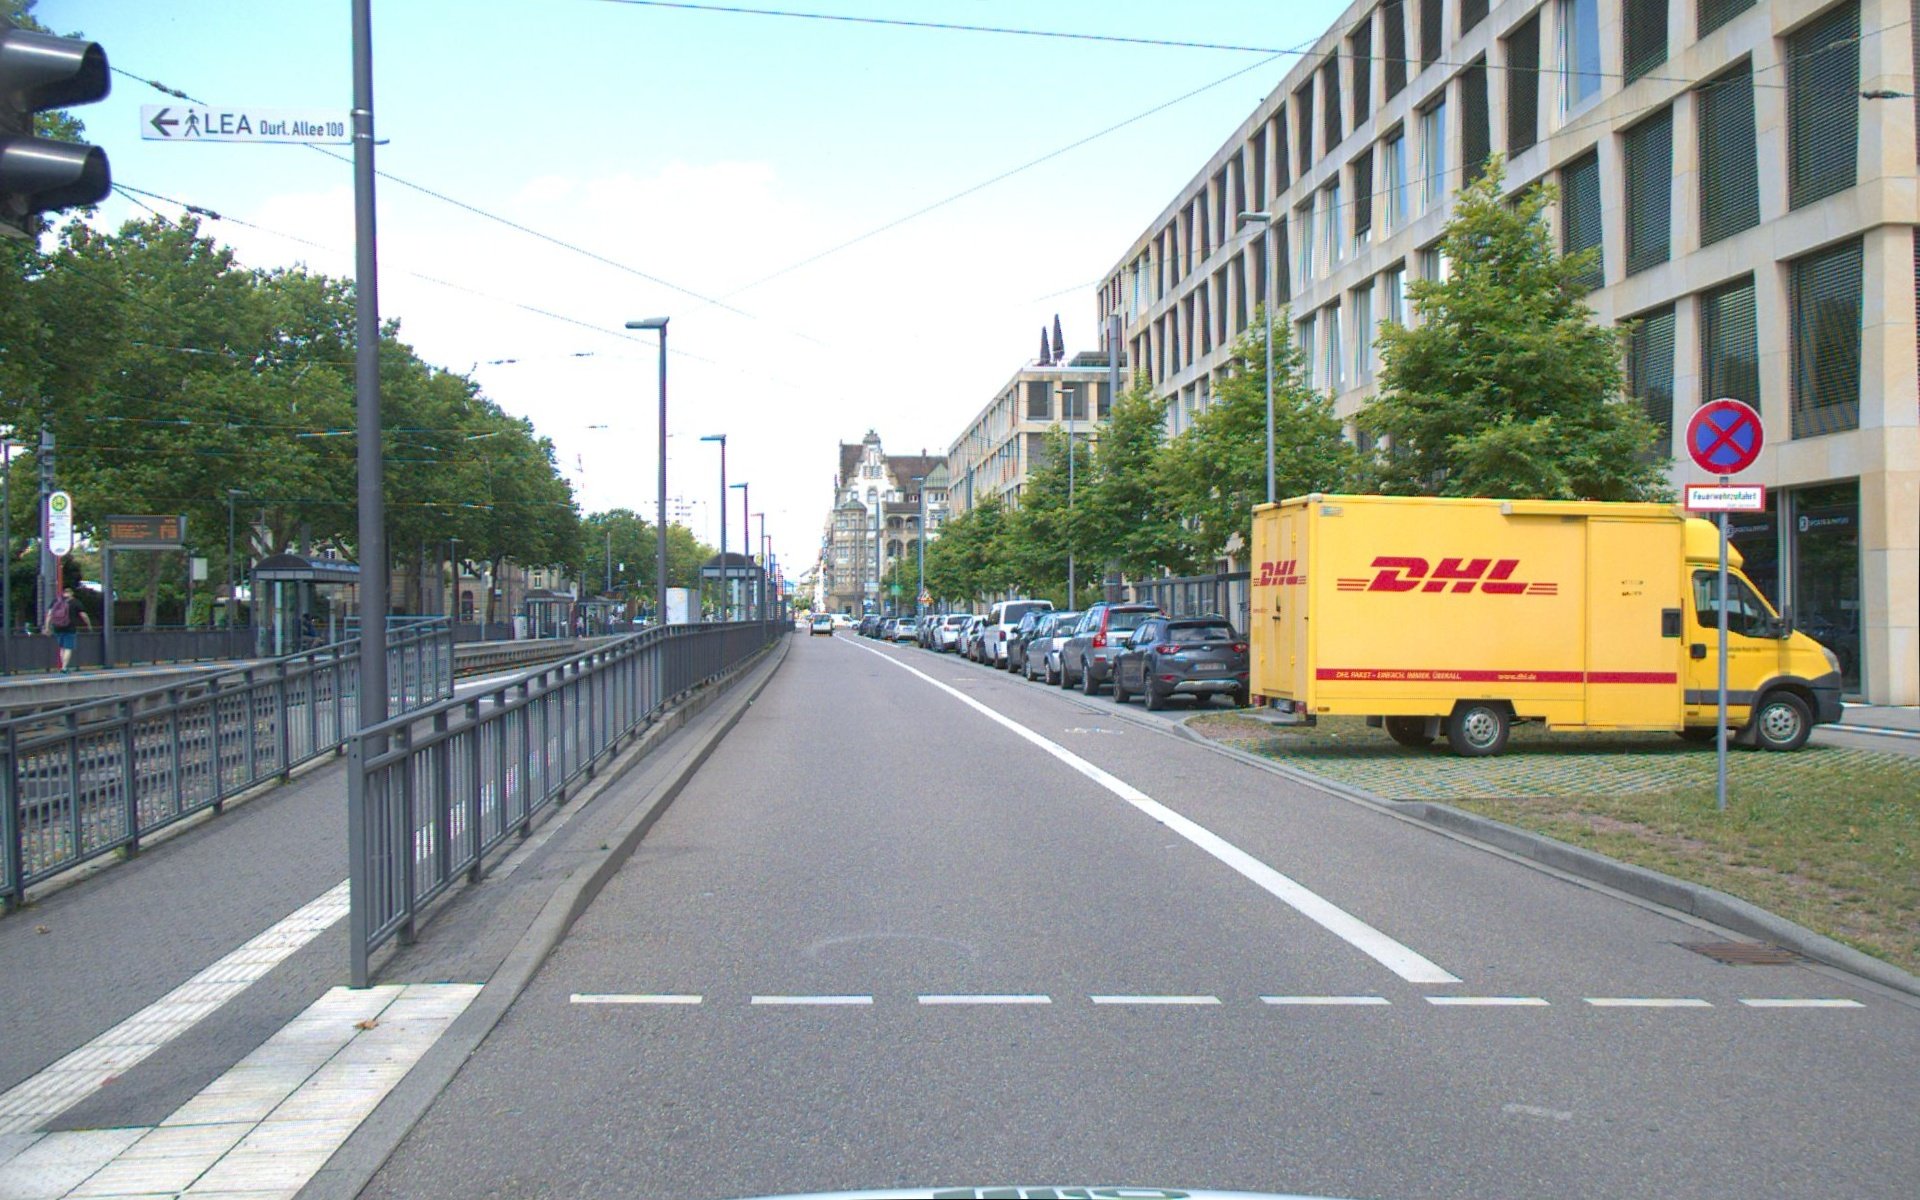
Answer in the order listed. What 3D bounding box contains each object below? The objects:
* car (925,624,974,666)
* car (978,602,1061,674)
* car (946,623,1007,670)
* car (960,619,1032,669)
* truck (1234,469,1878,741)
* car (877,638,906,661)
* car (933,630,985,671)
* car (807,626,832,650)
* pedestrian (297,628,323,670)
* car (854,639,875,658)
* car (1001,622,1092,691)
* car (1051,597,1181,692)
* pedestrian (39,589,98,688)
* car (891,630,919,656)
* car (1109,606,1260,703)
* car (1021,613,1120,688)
[{"bbox_3d":[-0.477,1.951,71.030,1.653,1.634,4.145,-2,-3,-6],"label":"car"},{"bbox_3d":[1.742,1.205,50.172,1.845,1.973,4.836,-2,-3,-6],"label":"car"},{"bbox_3d":[0.580,1.744,60.848,1.758,1.557,4.152,-2,-3,-6],"label":"car"},{"bbox_3d":[1.169,1.519,55.609,1.845,1.513,4.556,-1,-3,-6],"label":"car"},{"bbox_3d":[6.817,0.110,19.356,6.678,2.918,2.449,0,-4,-8],"label":"truck"},{"bbox_3d":[-4.765,3.476,114.649,1.561,1.460,4.099,2,-3,-7],"label":"car"},{"bbox_3d":[-0.084,2.049,65.833,1.653,1.483,3.944,-2,-3,-6],"label":"car"},{"bbox_3d":[-11.277,3.041,132.648,1.833,1.777,3.993,1,-3,-6],"label":"car"},{"bbox_3d":[-20.295,1.546,51.635,0.542,1.292,0.767,0,-3,-4],"label":"pedestrian"},{"bbox_3d":[-8.181,4.142,141.157,1.416,1.496,4.084,-2,-3,-8],"label":"car"},{"bbox_3d":[2.219,1.540,43.662,1.688,1.669,4.520,-2,-3,-6],"label":"car"},{"bbox_3d":[3.098,0.977,33.785,1.735,1.799,4.833,0,-3,-6],"label":"car"},{"bbox_3d":[-17.180,0.742,31.883,0.692,1.877,0.863,0,-2,-7],"label":"pedestrian"},{"bbox_3d":[-3.436,2.680,103.413,1.560,1.486,3.608,1,-3,-4],"label":"car"},{"bbox_3d":[3.761,0.983,28.397,1.658,1.531,4.062,0,-3,-6],"label":"car"},{"bbox_3d":[2.547,1.227,38.913,1.688,1.648,3.854,0,-3,-6],"label":"car"}]
